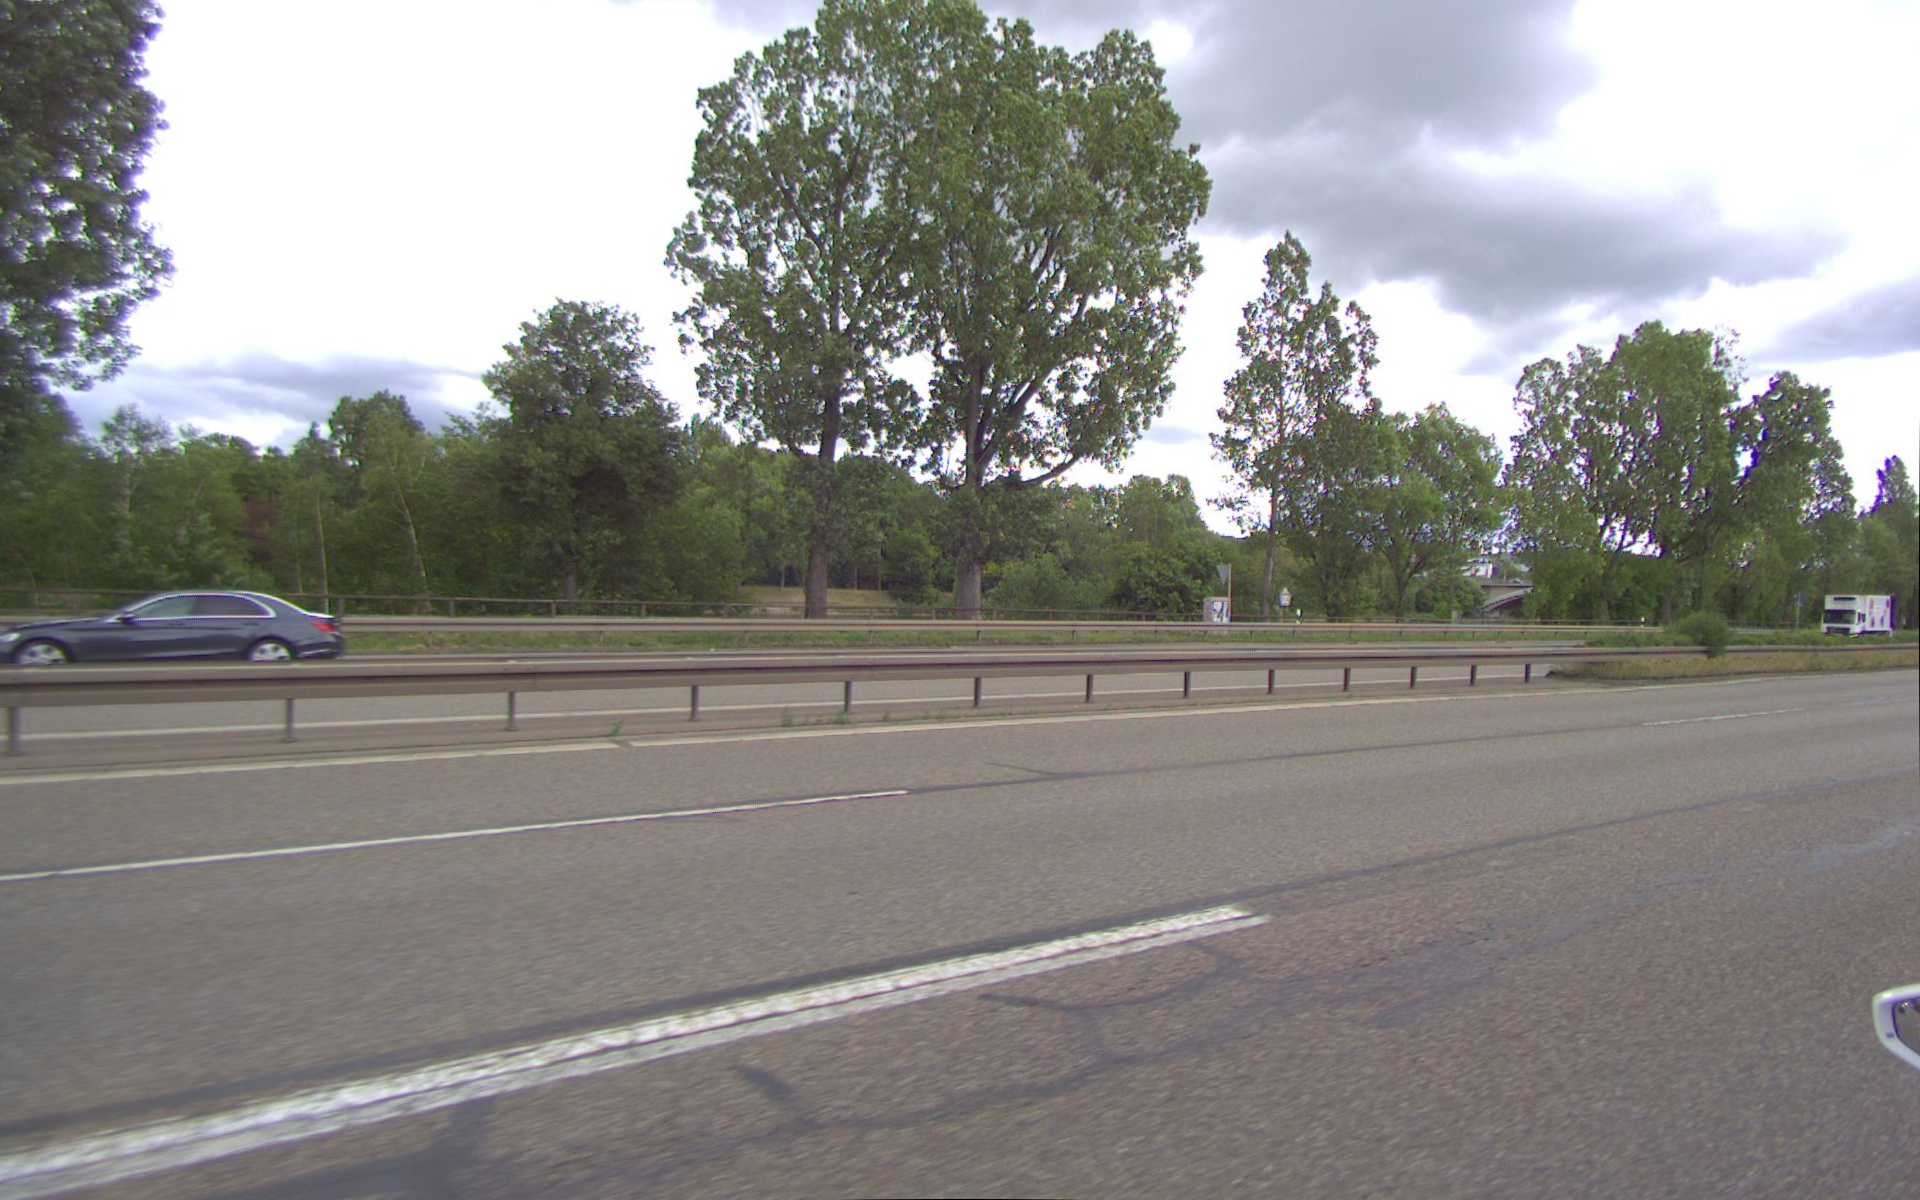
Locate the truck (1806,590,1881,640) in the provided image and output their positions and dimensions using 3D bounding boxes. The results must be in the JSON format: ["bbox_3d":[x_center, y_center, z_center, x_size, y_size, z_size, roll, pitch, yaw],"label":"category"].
[{"bbox_3d":[69.643,1.196,79.139,6.277,3.693,2.961,1,3,-36],"label":"truck"}]

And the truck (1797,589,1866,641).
[{"bbox_3d":[66.862,1.125,77.066,3.962,3.692,2.963,1,3,-36],"label":"truck"}]

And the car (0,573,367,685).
[{"bbox_3d":[-12.596,0.438,16.727,4.602,1.630,1.981,1,1,-34],"label":"car"}]
